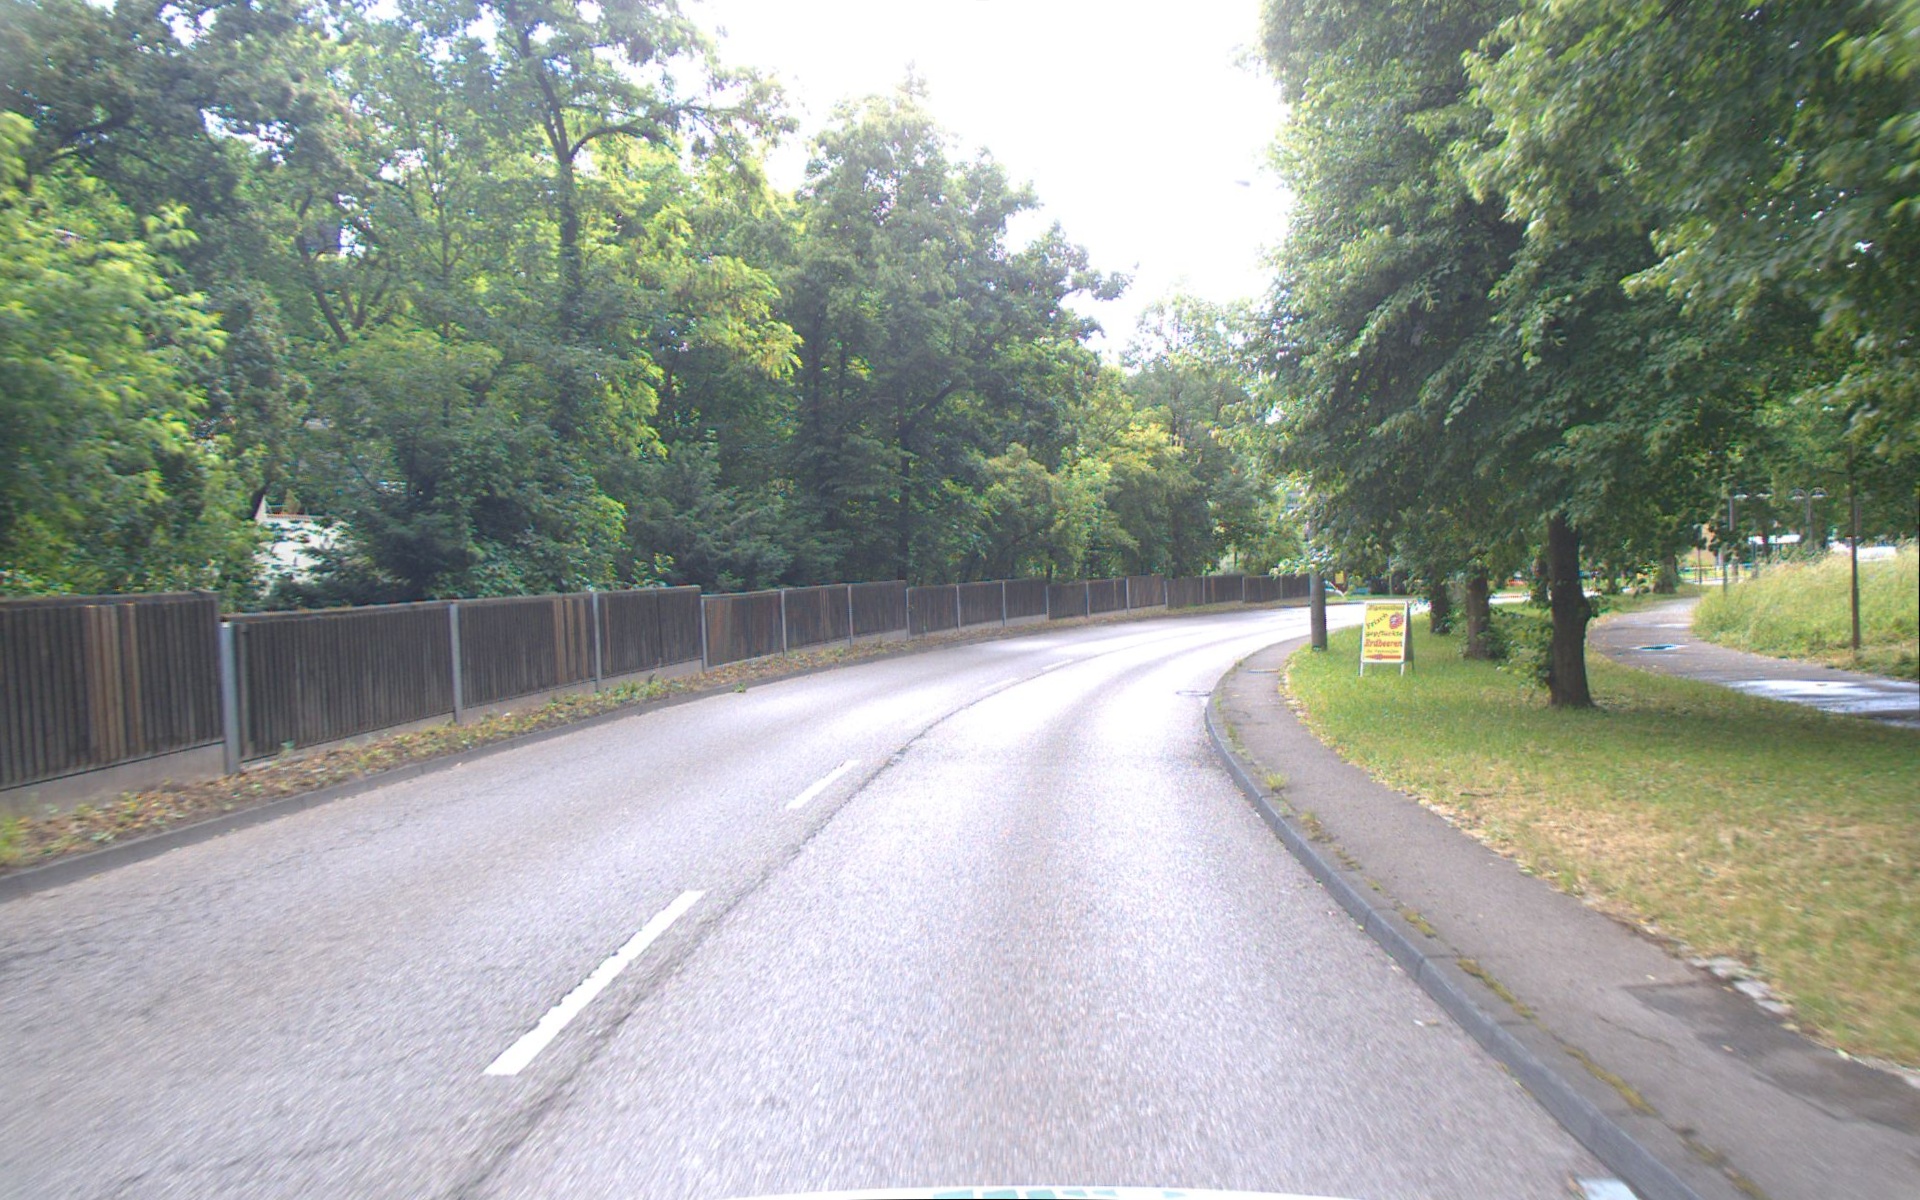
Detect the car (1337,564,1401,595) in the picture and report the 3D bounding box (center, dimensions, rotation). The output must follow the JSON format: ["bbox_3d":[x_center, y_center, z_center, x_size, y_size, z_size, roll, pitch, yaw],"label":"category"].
[{"bbox_3d":[25.042,-1.258,101.173,1.964,1.646,4.422,-4,-1,42],"label":"car"}]
